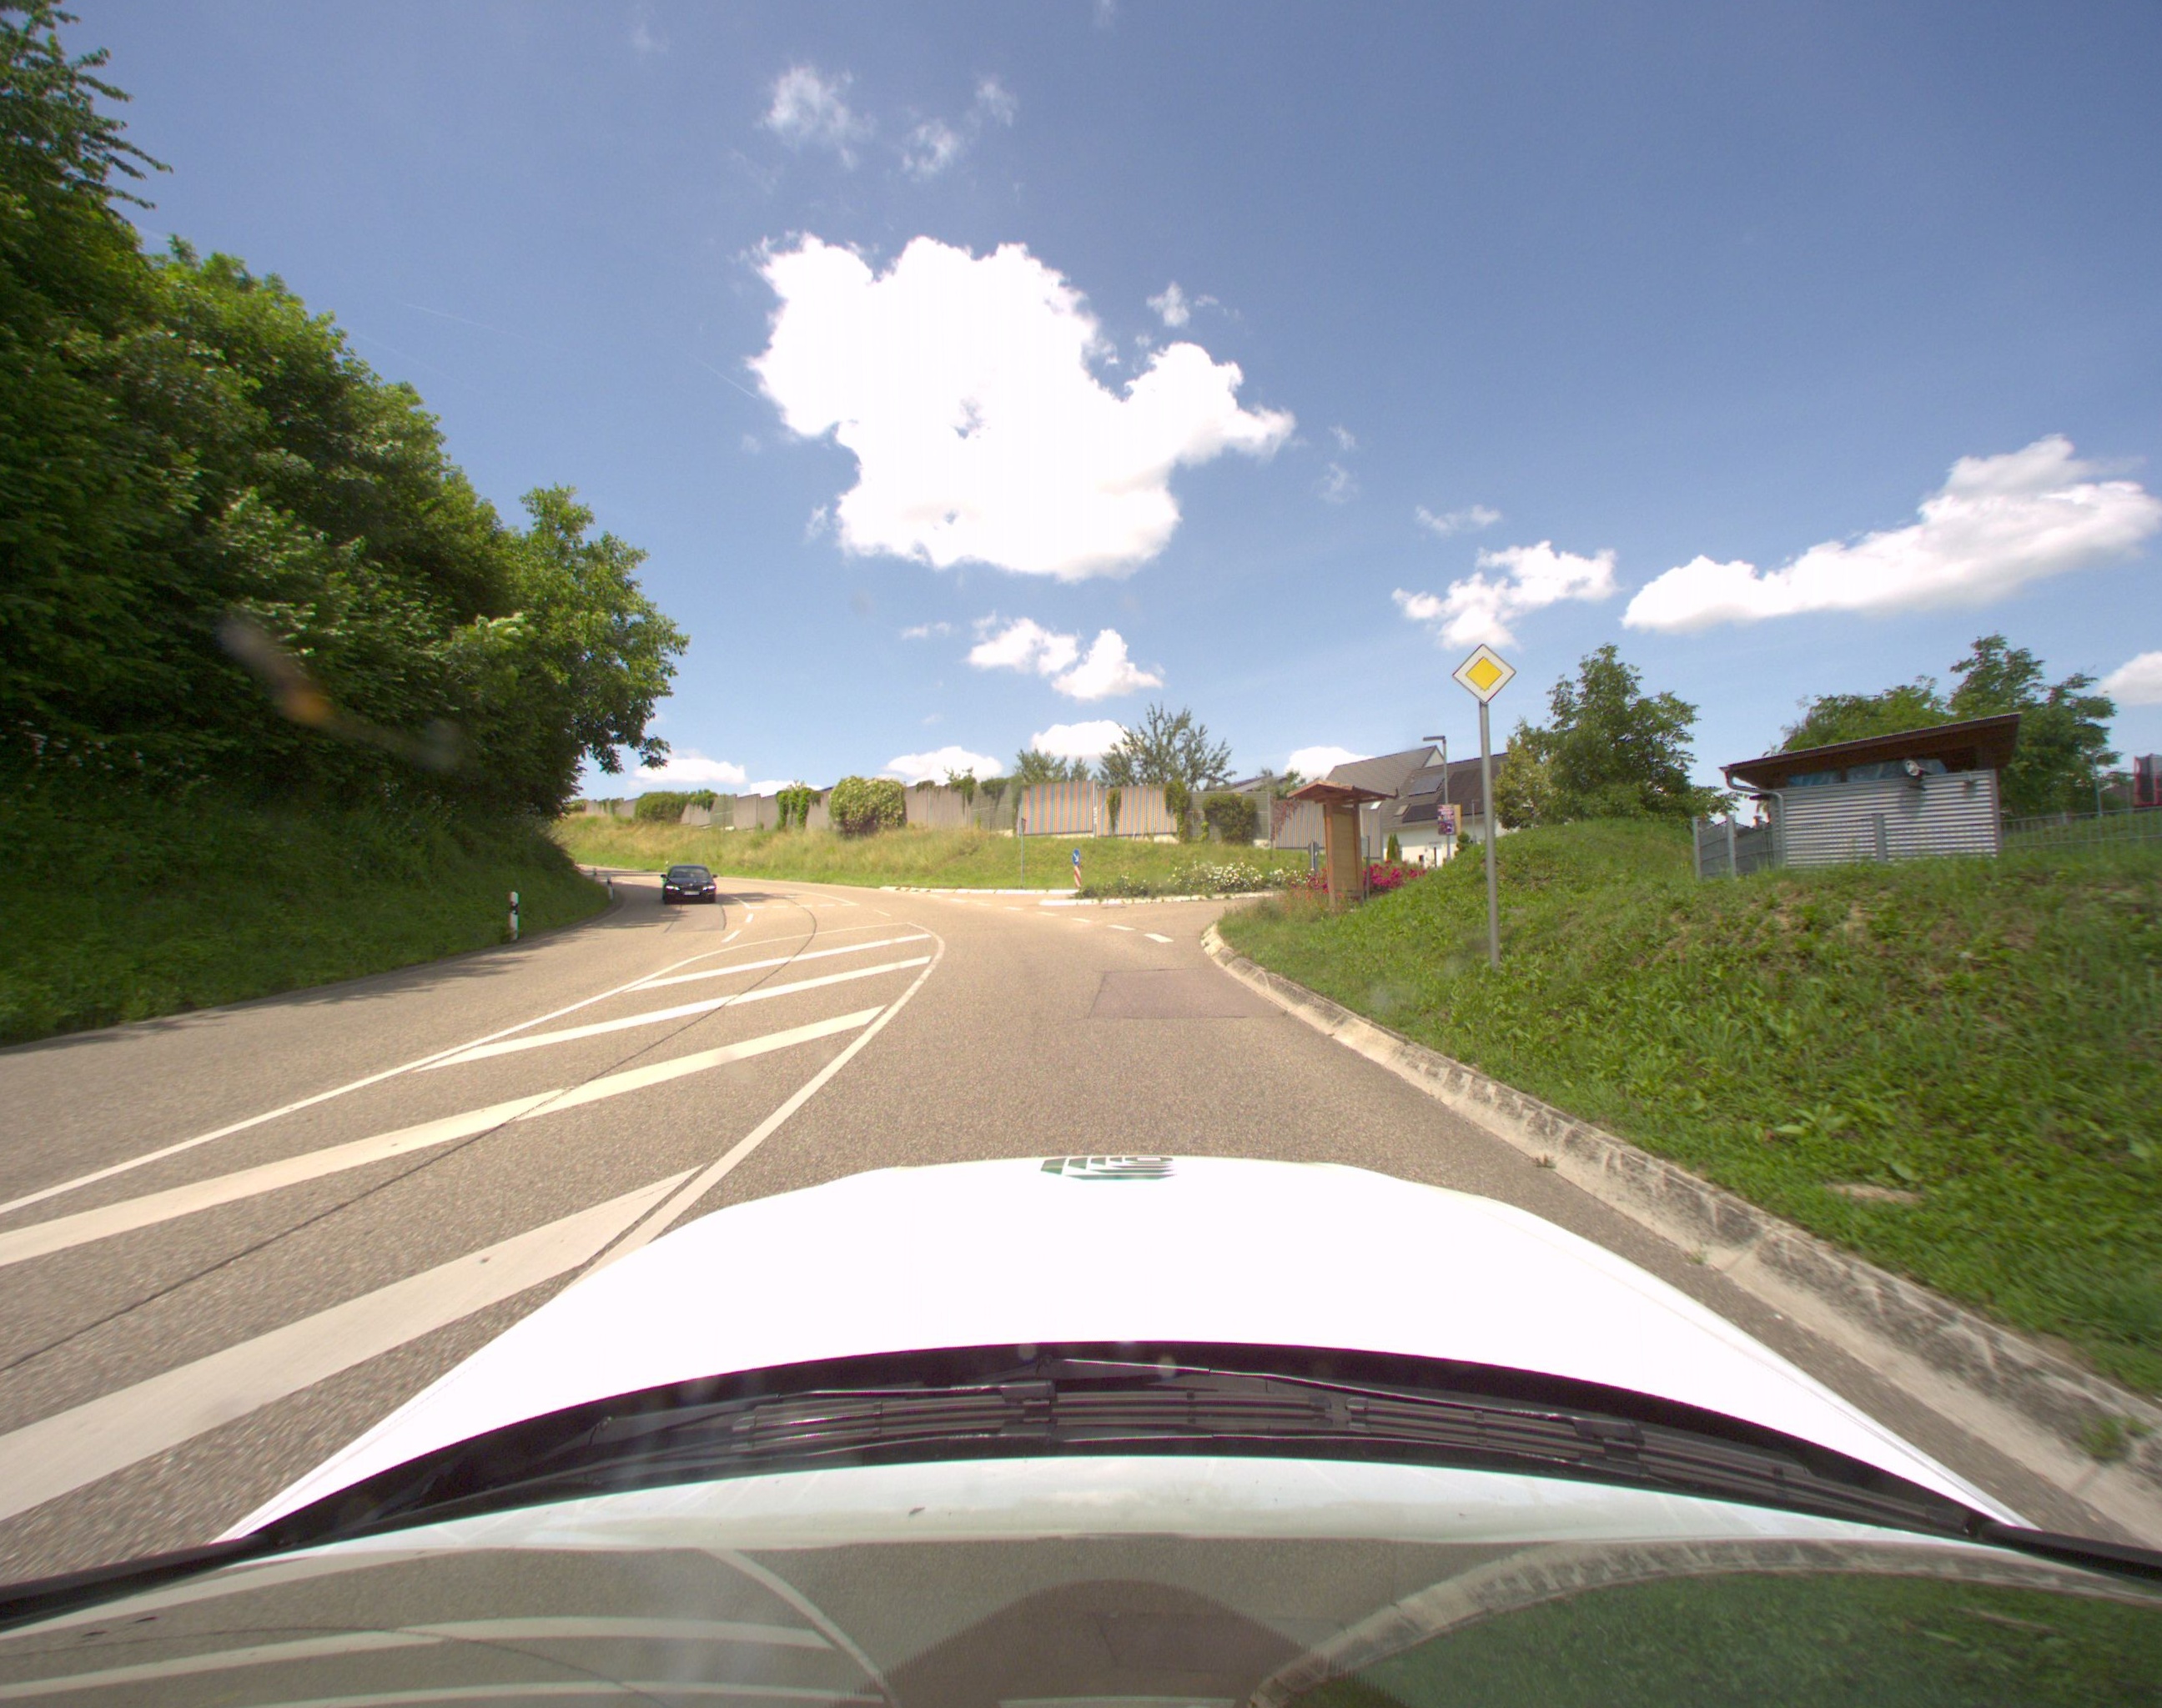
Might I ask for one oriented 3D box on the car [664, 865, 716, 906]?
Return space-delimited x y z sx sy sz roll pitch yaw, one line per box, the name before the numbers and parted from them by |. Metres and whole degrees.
car | -15.163 1.183 31.533 1.694 1.419 4.306 -1 -1 -27
